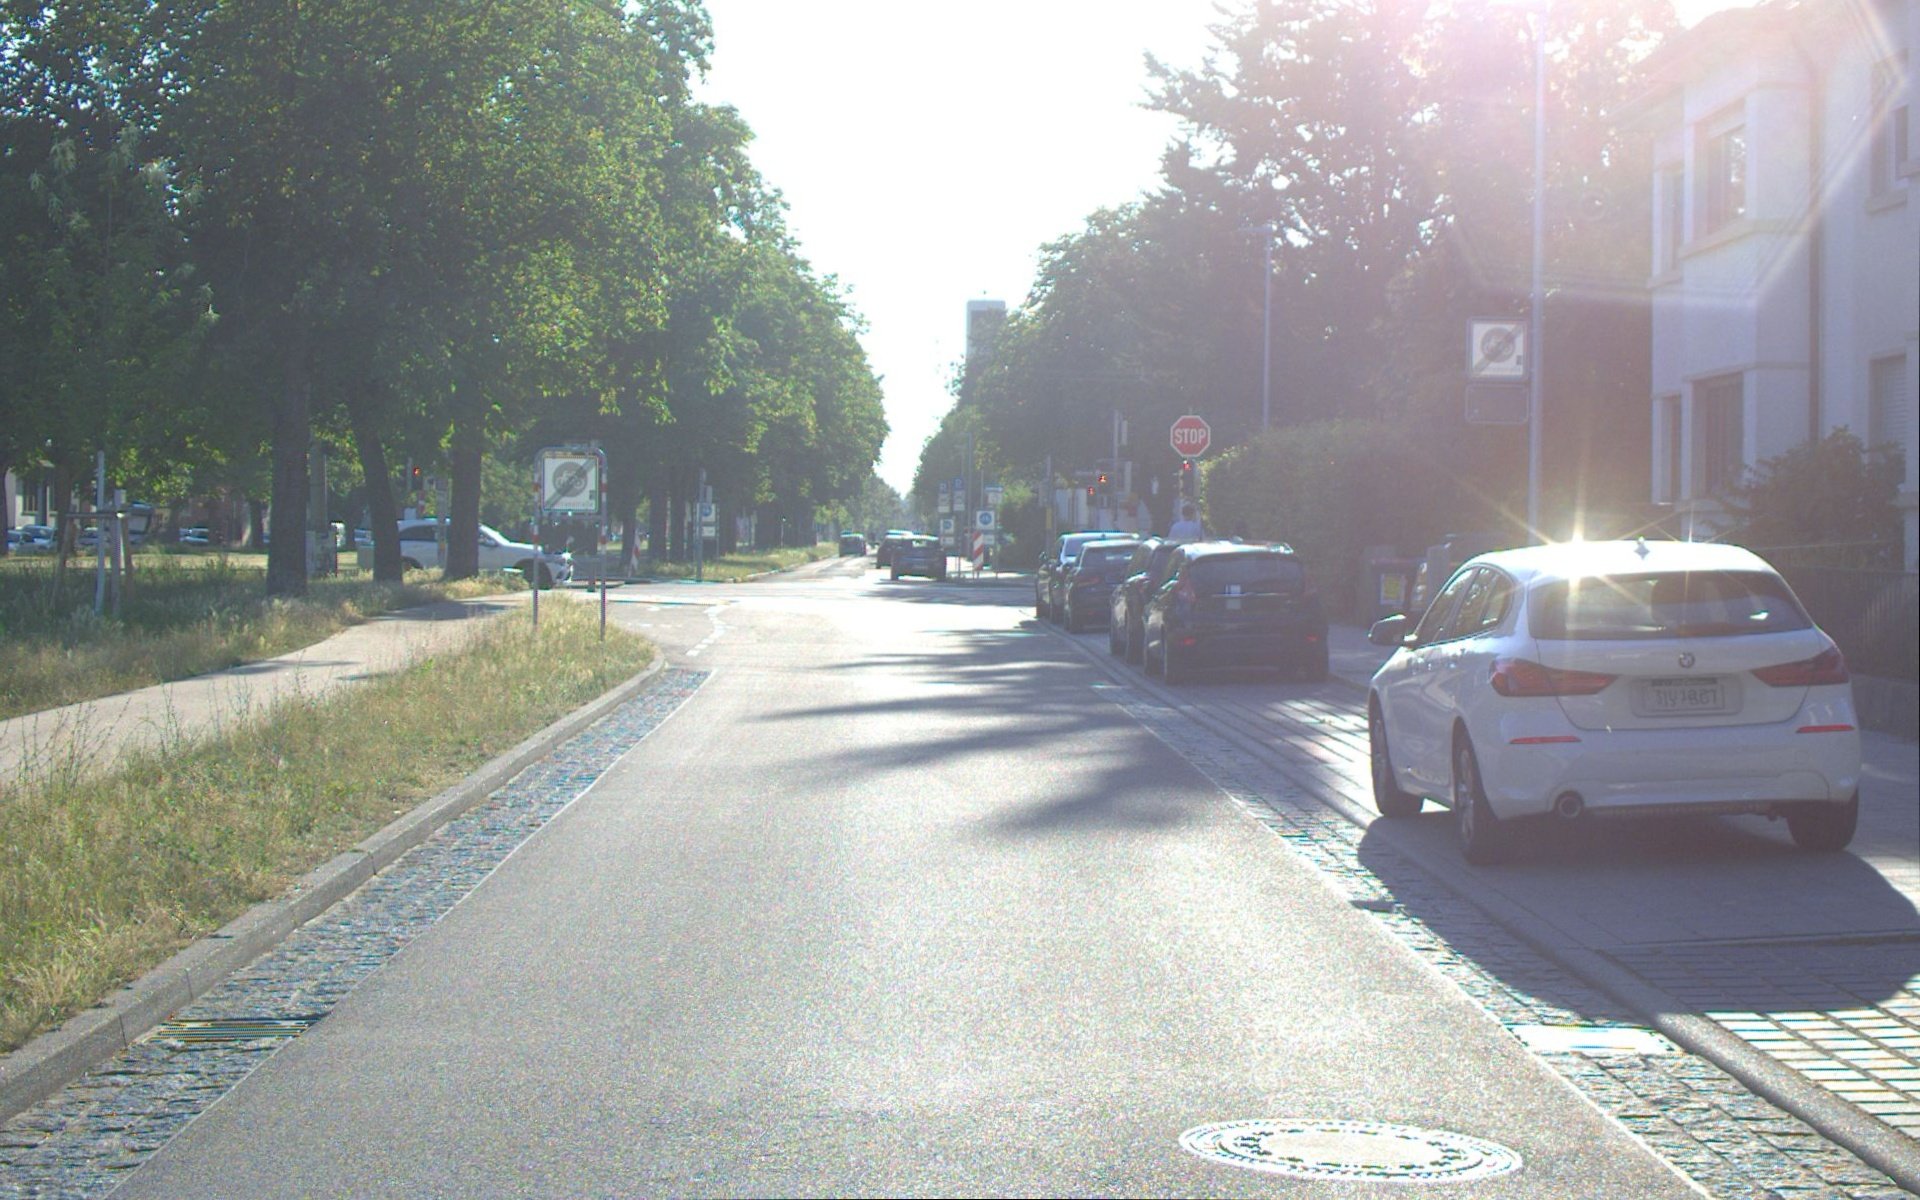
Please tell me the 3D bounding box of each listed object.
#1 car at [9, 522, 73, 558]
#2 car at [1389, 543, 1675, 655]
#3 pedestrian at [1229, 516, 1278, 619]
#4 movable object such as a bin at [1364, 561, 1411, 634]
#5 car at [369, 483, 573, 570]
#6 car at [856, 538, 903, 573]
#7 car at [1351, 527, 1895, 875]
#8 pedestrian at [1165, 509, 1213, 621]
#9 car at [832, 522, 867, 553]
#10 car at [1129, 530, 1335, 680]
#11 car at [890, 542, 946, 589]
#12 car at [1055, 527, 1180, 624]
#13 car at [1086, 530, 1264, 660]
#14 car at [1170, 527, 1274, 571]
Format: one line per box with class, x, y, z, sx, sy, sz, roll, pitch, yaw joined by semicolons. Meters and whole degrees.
car;-39.636;-2.584;148.286;1.738;1.422;3.793;1;2;0
car;7.892;-0.032;47.648;3.633;1.491;1.781;0;1;-1
pedestrian;4.964;-0.555;58.151;0.669;1.702;0.623;2;1;-5
movable object such as a bin;6.182;-0.039;49.748;0.507;1.039;0.659;1;1;-6
car;-11.031;-1.654;77.655;4.409;1.671;1.898;3;1;-8
car;-3.364;-1.859;144.099;1.845;1.389;3.829;2;1;0
car;3.156;0.399;17.214;1.782;1.502;4.234;-1;1;-2
pedestrian;3.866;-0.596;58.143;0.670;1.859;0.882;2;1;-2
car;-7.378;-4.176;229.811;2.134;2.007;3.902;2;1;0
car;2.819;0.016;36.365;1.718;1.466;3.984;-1;1;-2
car;-1.333;-1.105;109.817;1.641;1.446;3.307;2;1;1
car;2.386;-0.396;52.876;1.641;1.423;3.937;0;1;-1
car;2.557;-0.103;41.789;1.746;1.469;4.256;1;1;-2
car;9.969;-1.959;131.190;3.779;1.520;1.744;1;2;-1
